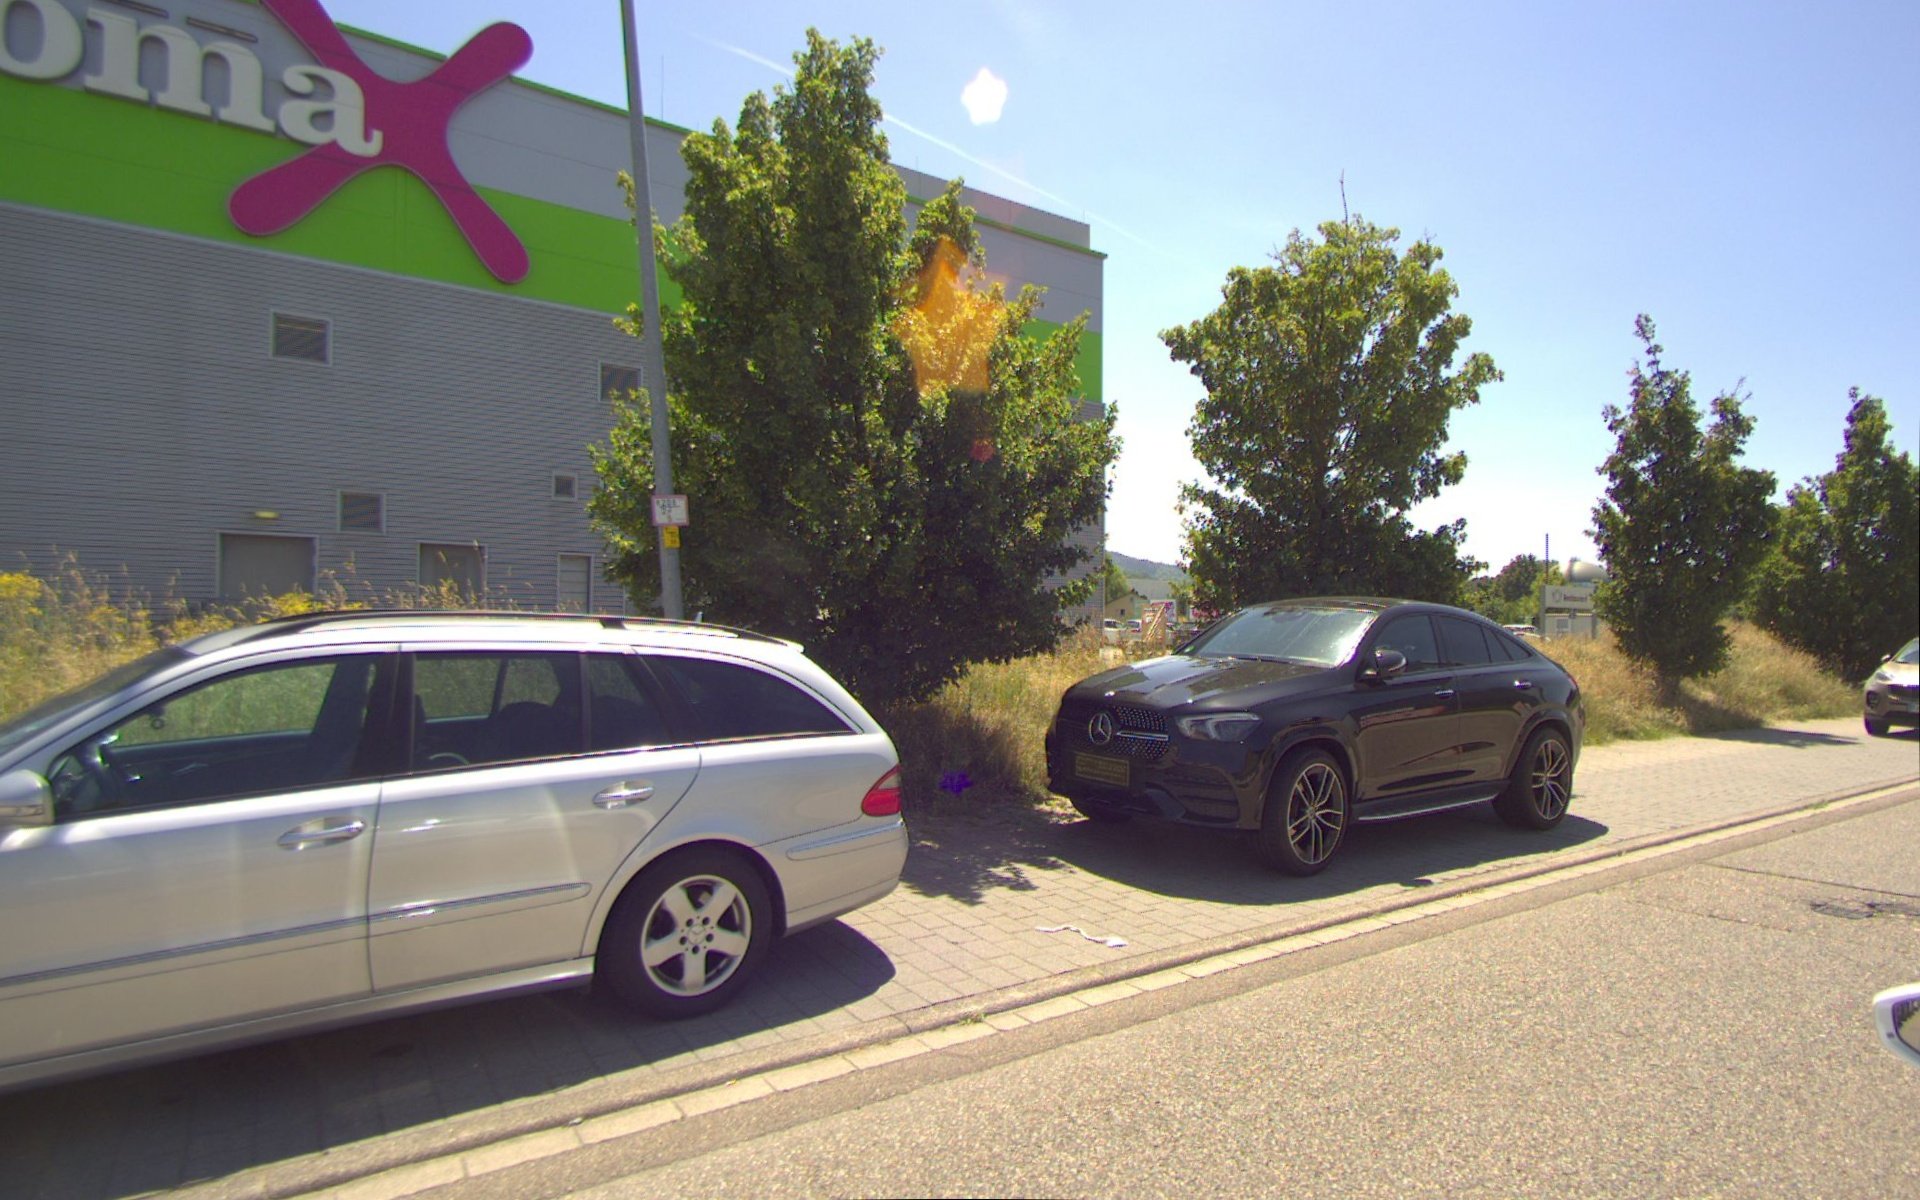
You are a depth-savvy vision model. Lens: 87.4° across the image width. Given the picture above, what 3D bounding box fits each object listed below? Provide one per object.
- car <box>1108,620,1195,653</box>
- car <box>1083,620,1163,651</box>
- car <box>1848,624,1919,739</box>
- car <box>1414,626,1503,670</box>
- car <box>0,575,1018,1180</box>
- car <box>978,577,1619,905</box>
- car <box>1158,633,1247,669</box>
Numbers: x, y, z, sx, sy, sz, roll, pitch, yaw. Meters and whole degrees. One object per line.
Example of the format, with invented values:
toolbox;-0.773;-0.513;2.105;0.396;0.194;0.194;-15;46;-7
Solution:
car;9.678;1.846;50.709;3.952;1.565;1.985;1;-1;-29
car;8.696;1.887;53.546;3.961;1.565;1.980;1;-1;-36
car;16.448;1.298;16.437;4.368;1.736;1.900;1;0;-35
car;22.044;2.083;44.391;3.962;1.800;1.979;1;-1;-37
car;-2.325;0.715;3.791;5.119;1.539;1.838;2;0;-37
car;2.725;0.791;7.543;4.956;1.736;1.979;1;0;-34
car;11.328;2.332;46.837;3.963;1.565;1.979;2;-1;-37
